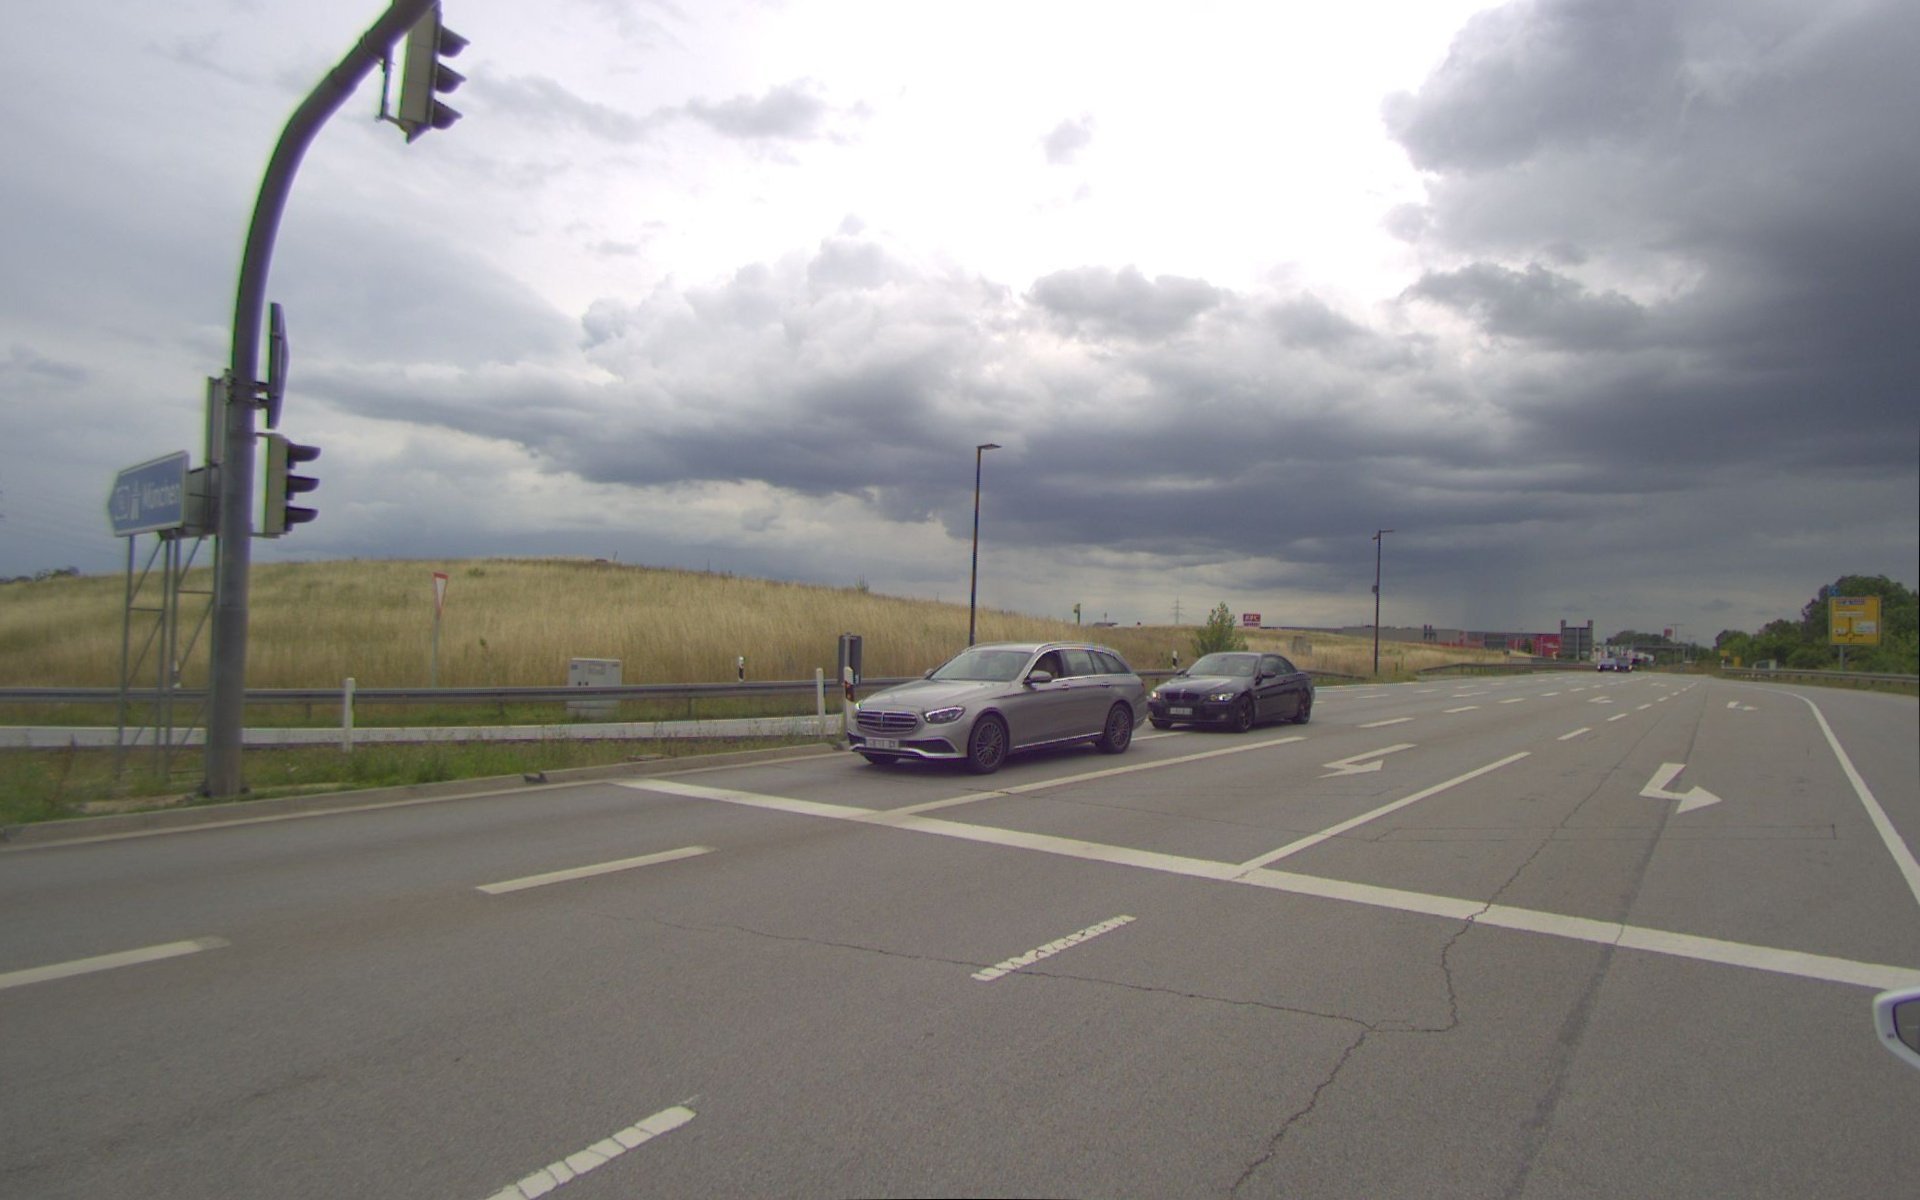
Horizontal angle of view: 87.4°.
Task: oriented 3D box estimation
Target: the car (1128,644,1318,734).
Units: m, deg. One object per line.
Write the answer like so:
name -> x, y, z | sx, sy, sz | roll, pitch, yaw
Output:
car -> 5.009, 1.585, 18.646 | 1.686, 1.429, 4.656 | 0, -3, 38

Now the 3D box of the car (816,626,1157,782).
car -> 0.570, 1.212, 13.060 | 1.891, 1.631, 4.929 | -2, -3, 38

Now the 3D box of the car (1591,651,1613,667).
car -> 68.602, 6.323, 107.359 | 1.774, 1.571, 3.987 | 0, -3, 36

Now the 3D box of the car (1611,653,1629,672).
car -> 95.872, 9.131, 145.805 | 1.967, 2.626, 5.985 | 0, -3, 36
